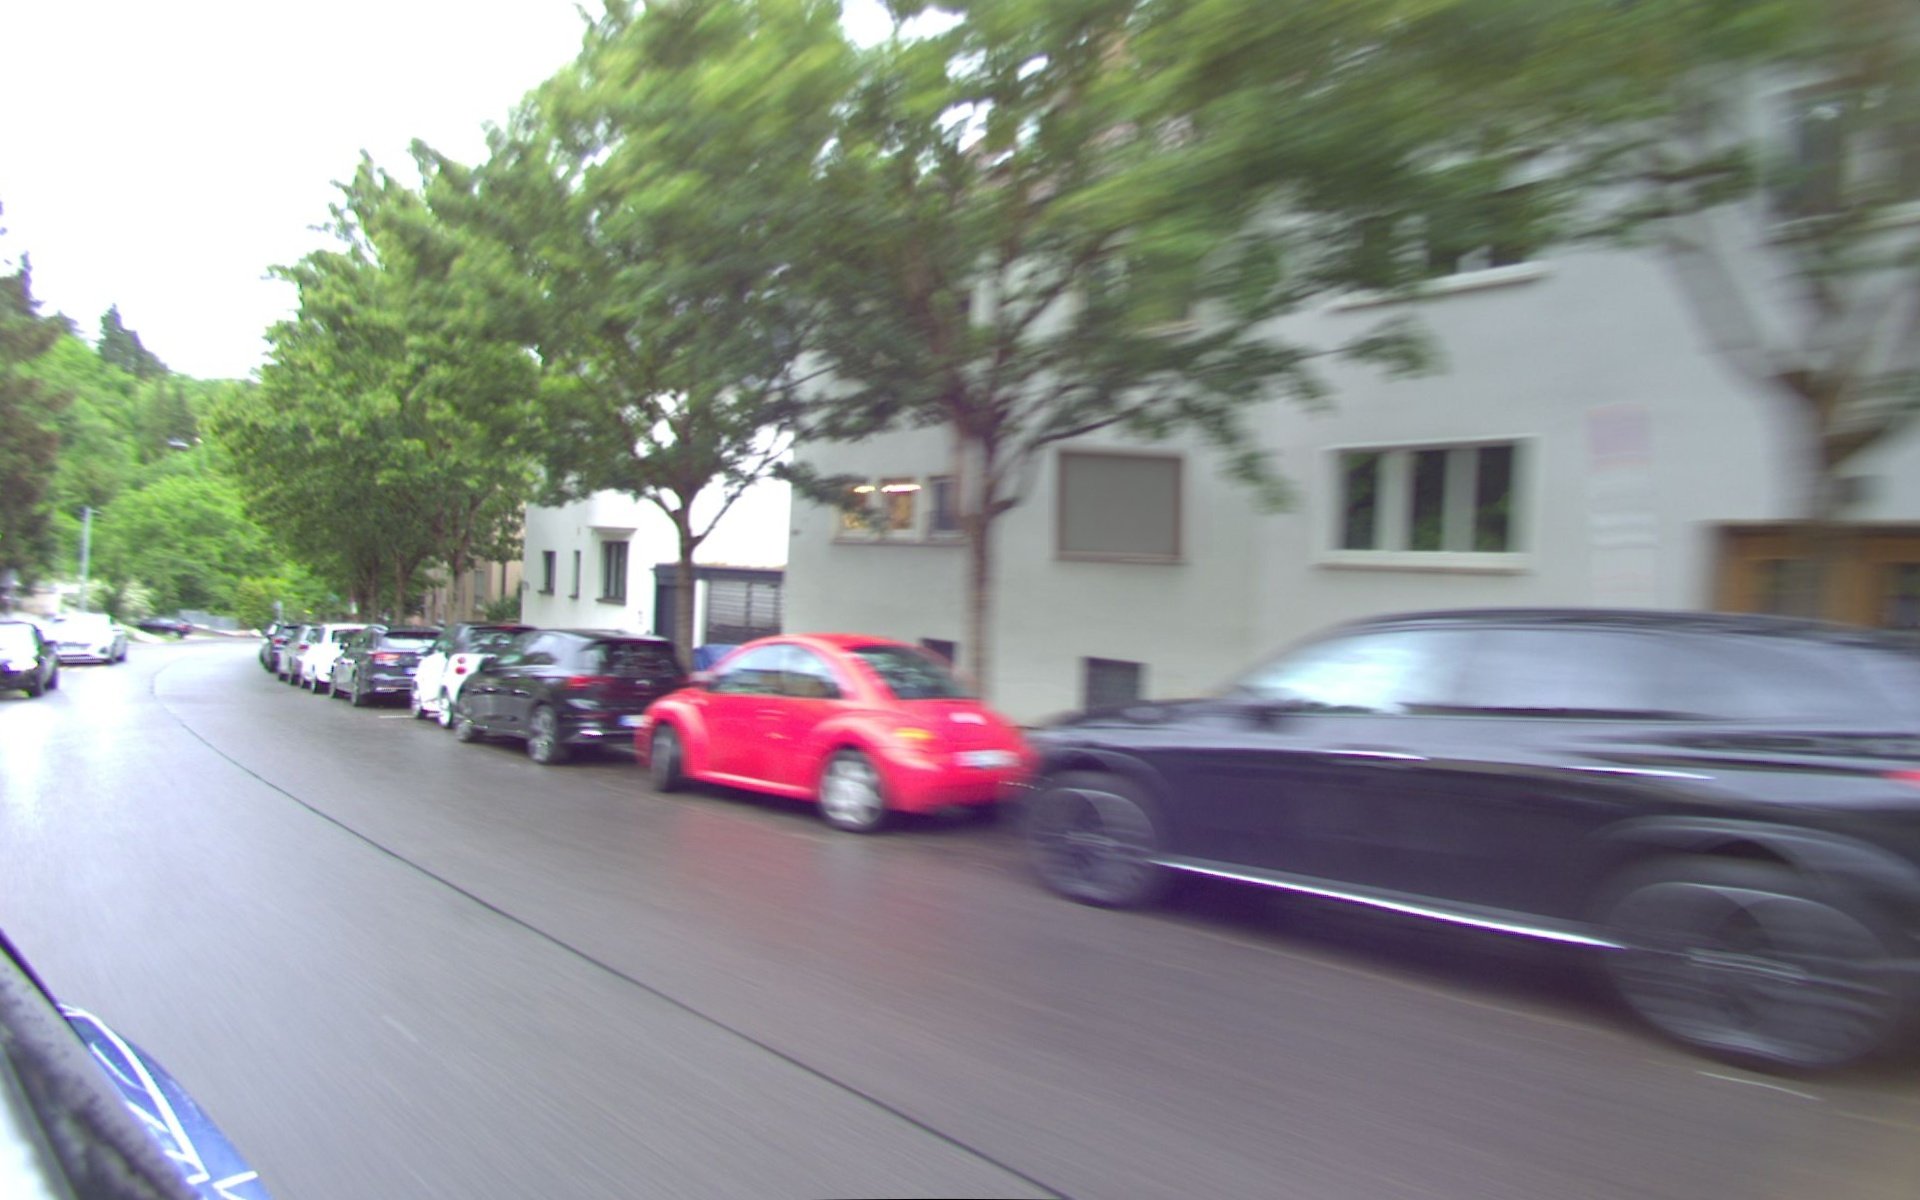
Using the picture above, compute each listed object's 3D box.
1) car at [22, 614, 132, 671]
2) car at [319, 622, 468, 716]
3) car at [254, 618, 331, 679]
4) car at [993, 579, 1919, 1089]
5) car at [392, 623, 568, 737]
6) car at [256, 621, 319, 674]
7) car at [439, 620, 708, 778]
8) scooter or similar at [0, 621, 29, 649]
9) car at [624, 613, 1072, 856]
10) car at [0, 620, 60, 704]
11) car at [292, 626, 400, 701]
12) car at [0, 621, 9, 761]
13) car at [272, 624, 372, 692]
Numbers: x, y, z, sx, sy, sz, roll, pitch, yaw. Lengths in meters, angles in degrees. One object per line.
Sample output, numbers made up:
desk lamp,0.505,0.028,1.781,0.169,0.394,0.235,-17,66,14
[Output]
car,-28.444,1.365,32.745,1.980,1.674,4.457,3,-3,-33
car,-10.848,1.259,19.218,1.643,1.500,4.484,6,-4,-39
car,-20.791,1.480,31.474,1.597,1.671,3.932,7,-5,-37
car,2.431,0.814,4.990,4.577,1.621,1.663,-2,-4,43
car,-7.526,1.196,15.716,1.536,1.522,3.389,6,-4,-40
car,-24.051,1.658,36.140,1.571,1.671,3.932,8,-5,-36
car,-4.737,1.074,12.069,1.536,1.500,4.103,6,-4,-42
scooter or similar,-39.375,1.466,42.126,0.589,1.141,1.374,3,-3,-30
car,-1.105,0.989,8.748,3.847,1.576,1.615,1,-4,42
car,-18.804,1.145,19.658,1.780,1.500,4.024,4,-3,-40
car,-13.766,1.395,22.615,1.554,1.500,3.476,6,-5,-38
car,-9.649,0.906,8.768,1.553,1.463,3.595,3,-2,-36
car,-16.195,1.427,25.606,1.597,1.481,3.980,6,-4,-39
